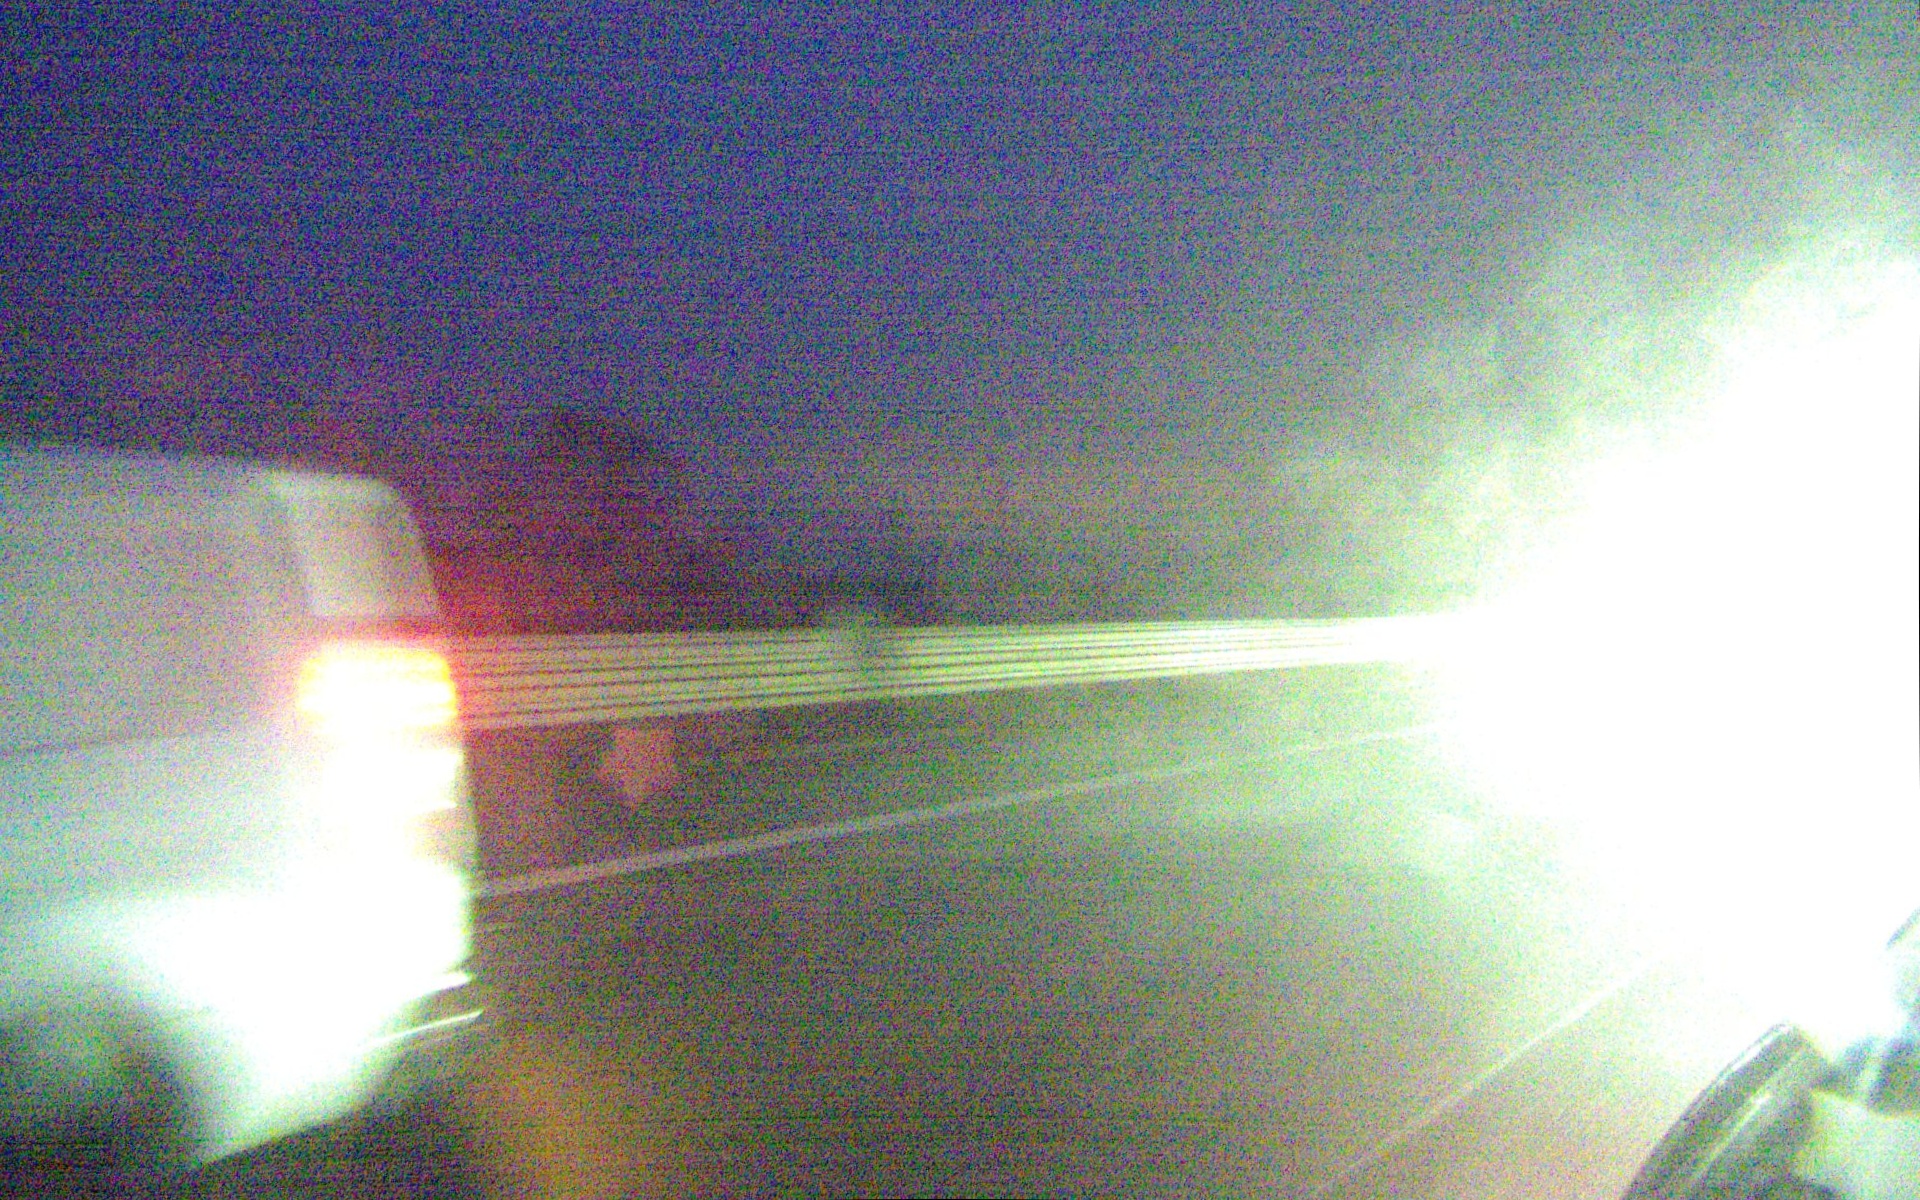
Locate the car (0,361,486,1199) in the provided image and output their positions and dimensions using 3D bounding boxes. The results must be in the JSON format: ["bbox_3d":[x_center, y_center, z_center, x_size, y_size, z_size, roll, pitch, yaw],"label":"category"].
[{"bbox_3d":[-3.618,0.515,1.406,5.034,1.815,1.956,-1,0,-41],"label":"car"}]
